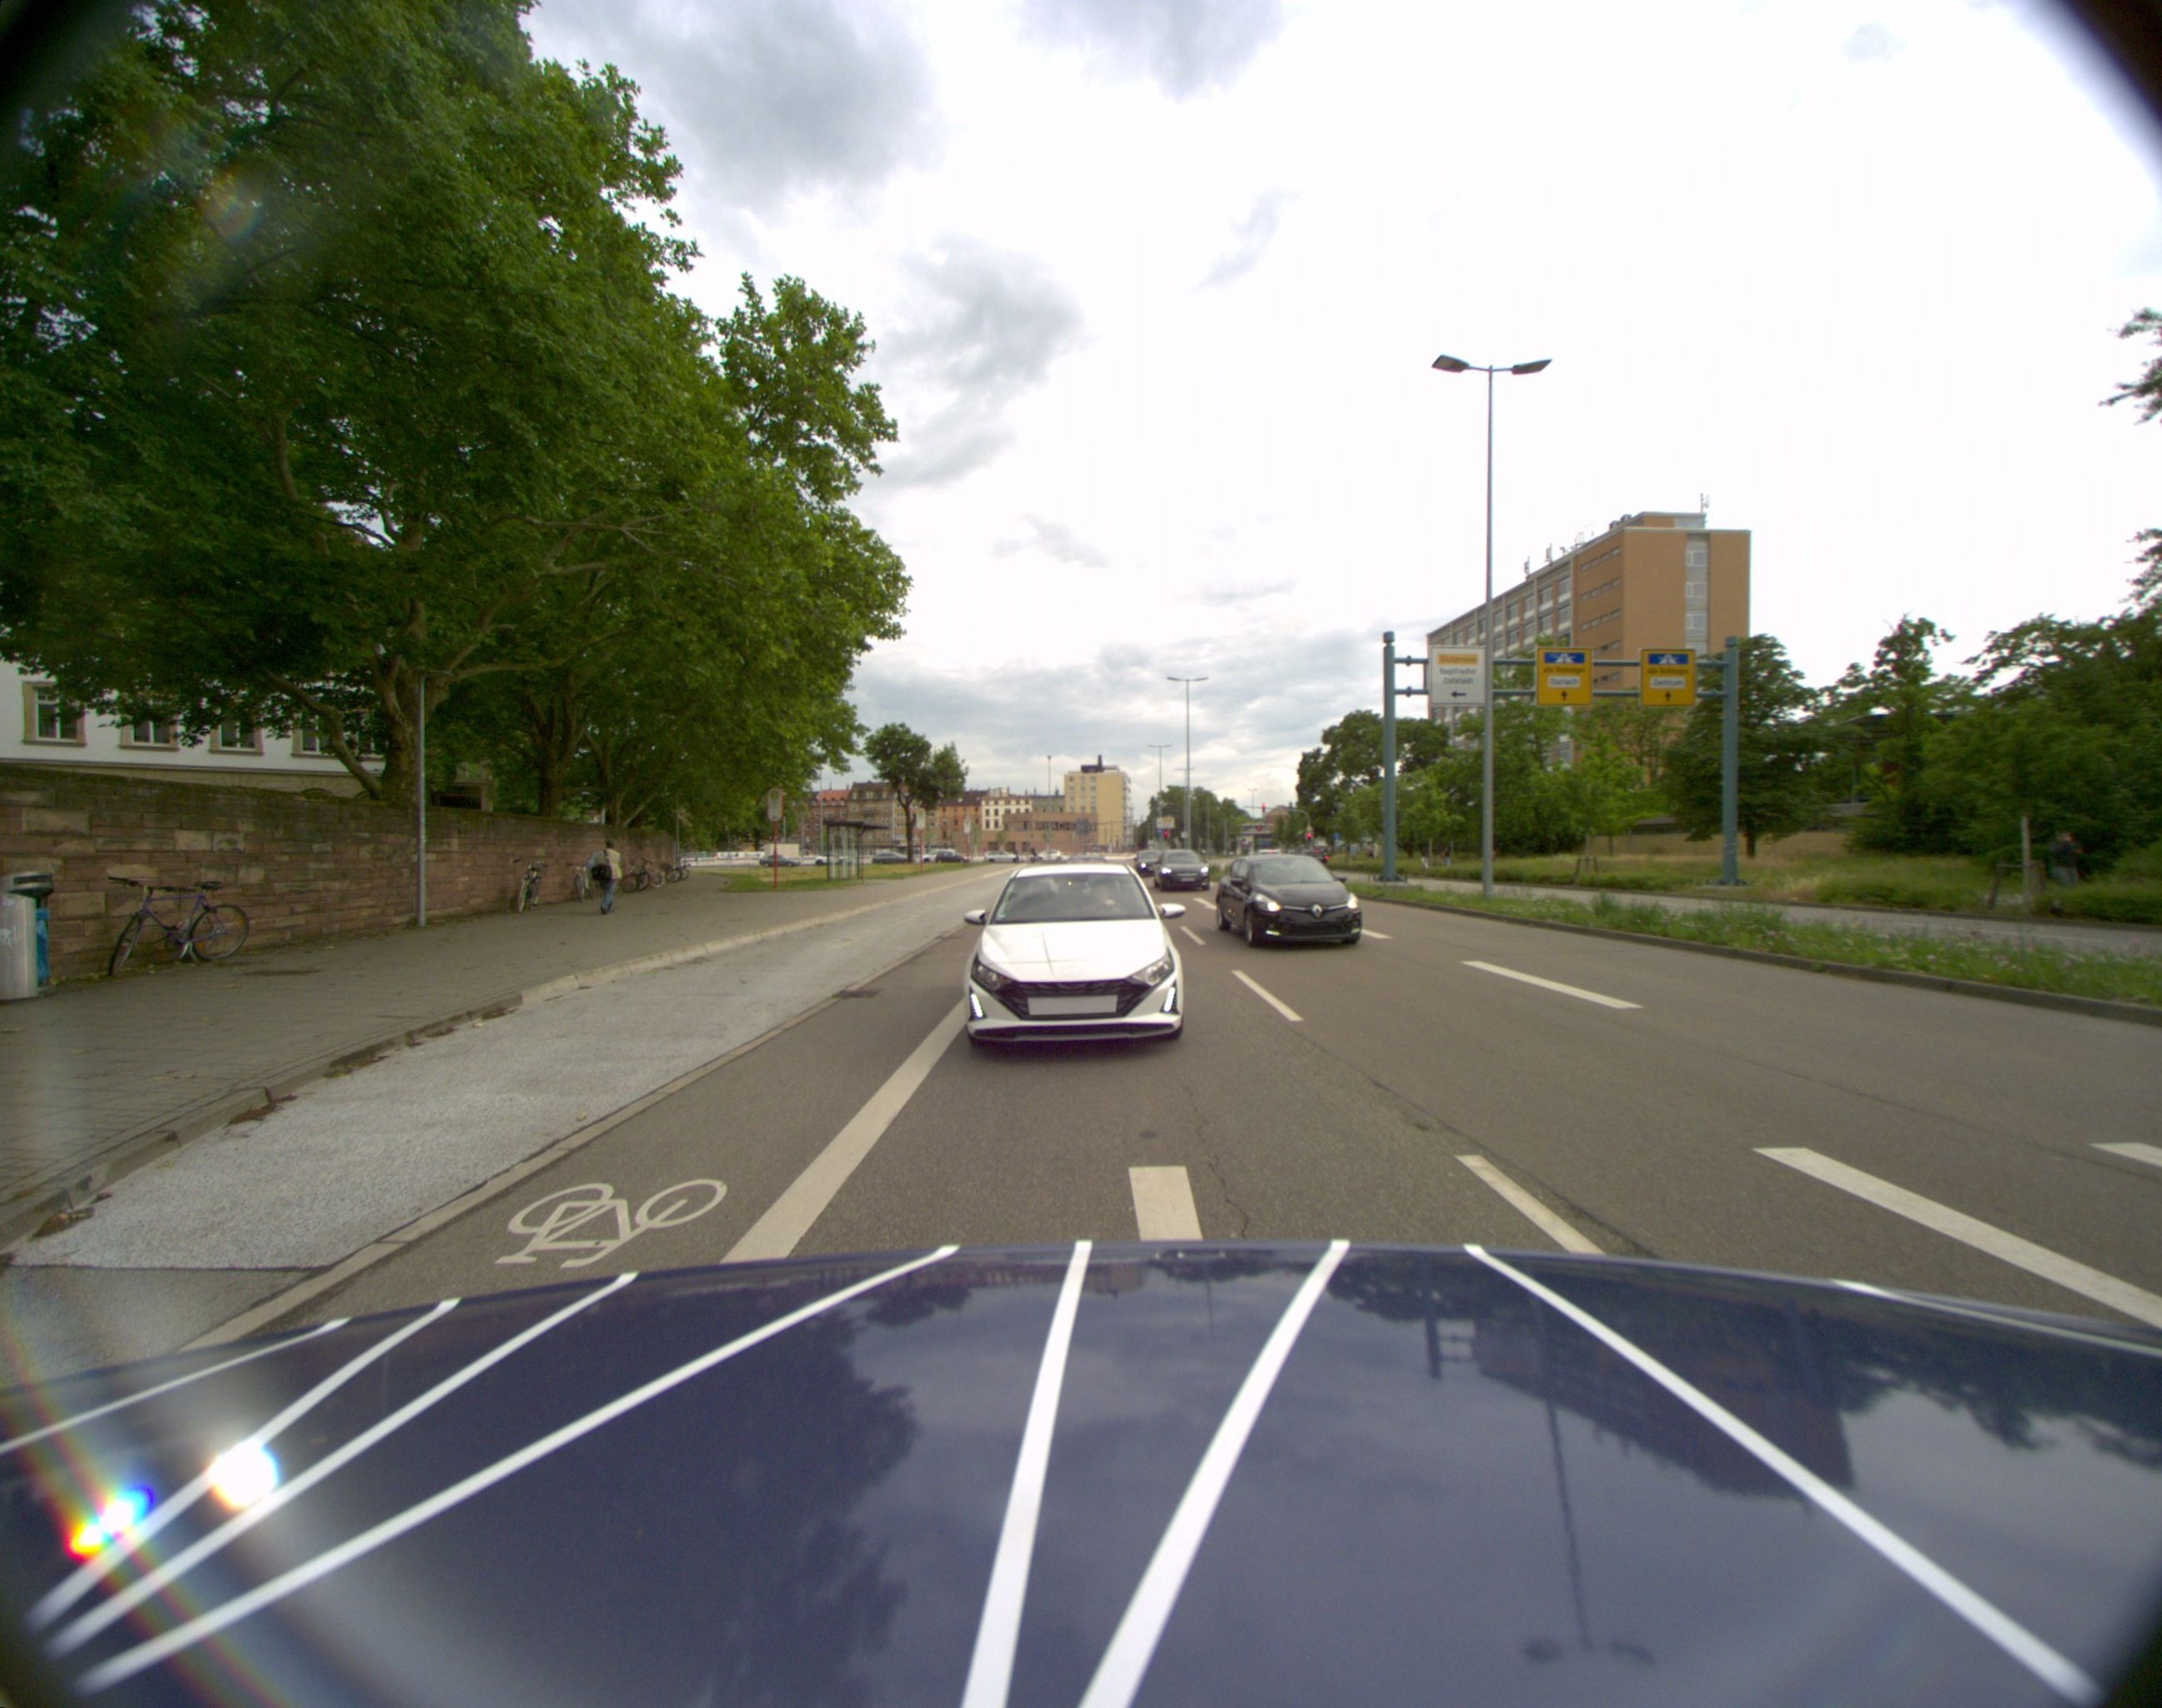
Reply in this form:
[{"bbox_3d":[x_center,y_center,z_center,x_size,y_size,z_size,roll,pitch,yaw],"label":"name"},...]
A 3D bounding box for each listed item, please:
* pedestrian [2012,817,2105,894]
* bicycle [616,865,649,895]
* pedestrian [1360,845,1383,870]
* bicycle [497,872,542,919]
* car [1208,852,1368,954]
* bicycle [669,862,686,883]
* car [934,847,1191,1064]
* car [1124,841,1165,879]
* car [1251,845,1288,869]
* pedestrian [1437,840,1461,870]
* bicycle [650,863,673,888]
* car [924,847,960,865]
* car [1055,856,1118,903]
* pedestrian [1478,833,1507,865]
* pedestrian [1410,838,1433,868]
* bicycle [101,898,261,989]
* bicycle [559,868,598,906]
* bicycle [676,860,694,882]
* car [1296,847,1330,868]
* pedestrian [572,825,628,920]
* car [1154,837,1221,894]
[{"bbox_3d":[21.490,0.034,16.721,0.990,1.616,0.813,-2,1,-2],"label":"pedestrian"},{"bbox_3d":[-15.174,0.855,25.749,0.655,0.934,1.953,-1,1,-22],"label":"bicycle"},{"bbox_3d":[24.169,0.263,63.265,1.223,2.002,1.520,-2,1,0],"label":"pedestrian"},{"bbox_3d":[-12.474,0.900,16.912,0.365,0.934,1.638,-1,1,-21],"label":"bicycle"},{"bbox_3d":[3.362,0.713,13.125,1.732,1.450,4.000,0,1,1],"label":"car"},{"bbox_3d":[-18.961,0.861,35.726,0.561,0.934,1.351,-1,1,-22],"label":"bicycle"},{"bbox_3d":[-0.104,0.704,7.365,1.813,1.533,4.000,0,1,1],"label":"car"},{"bbox_3d":[3.437,0.292,41.774,1.998,2.002,4.000,0,1,1],"label":"car"},{"bbox_3d":[14.879,0.170,60.227,1.893,1.763,3.999,-2,1,0],"label":"car"},{"bbox_3d":[24.998,0.047,51.589,0.882,2.002,1.220,-2,1,-7],"label":"pedestrian"},{"bbox_3d":[-16.952,0.866,30.718,0.569,0.934,1.764,-1,1,-22],"label":"bicycle"},{"bbox_3d":[-16.978,0.260,93.078,4.285,2.002,1.998,-2,1,-9],"label":"car"},{"bbox_3d":[0.209,0.815,25.997,1.998,1.422,4.000,0,1,1],"label":"car"},{"bbox_3d":[25.415,-0.337,46.962,1.137,1.908,1.162,-2,1,4],"label":"pedestrian"},{"bbox_3d":[23.649,-0.056,52.771,0.882,2.002,1.220,-2,1,-7],"label":"pedestrian"},{"bbox_3d":[-10.614,1.012,9.034,0.291,0.880,1.609,0,1,-12],"label":"bicycle"},{"bbox_3d":[-13.584,0.861,20.589,0.482,0.934,1.895,-1,1,-21],"label":"bicycle"},{"bbox_3d":[-20.584,0.897,39.526,0.693,1.078,1.651,-1,-1,-22],"label":"bicycle"},{"bbox_3d":[18.037,0.223,59.220,1.854,1.543,4.002,-1,1,7],"label":"car"},{"bbox_3d":[-10.401,0.385,16.464,0.784,2.002,0.888,-1,1,-17],"label":"pedestrian"},{"bbox_3d":[3.918,0.390,28.509,1.998,2.002,4.000,0,1,1],"label":"car"}]
